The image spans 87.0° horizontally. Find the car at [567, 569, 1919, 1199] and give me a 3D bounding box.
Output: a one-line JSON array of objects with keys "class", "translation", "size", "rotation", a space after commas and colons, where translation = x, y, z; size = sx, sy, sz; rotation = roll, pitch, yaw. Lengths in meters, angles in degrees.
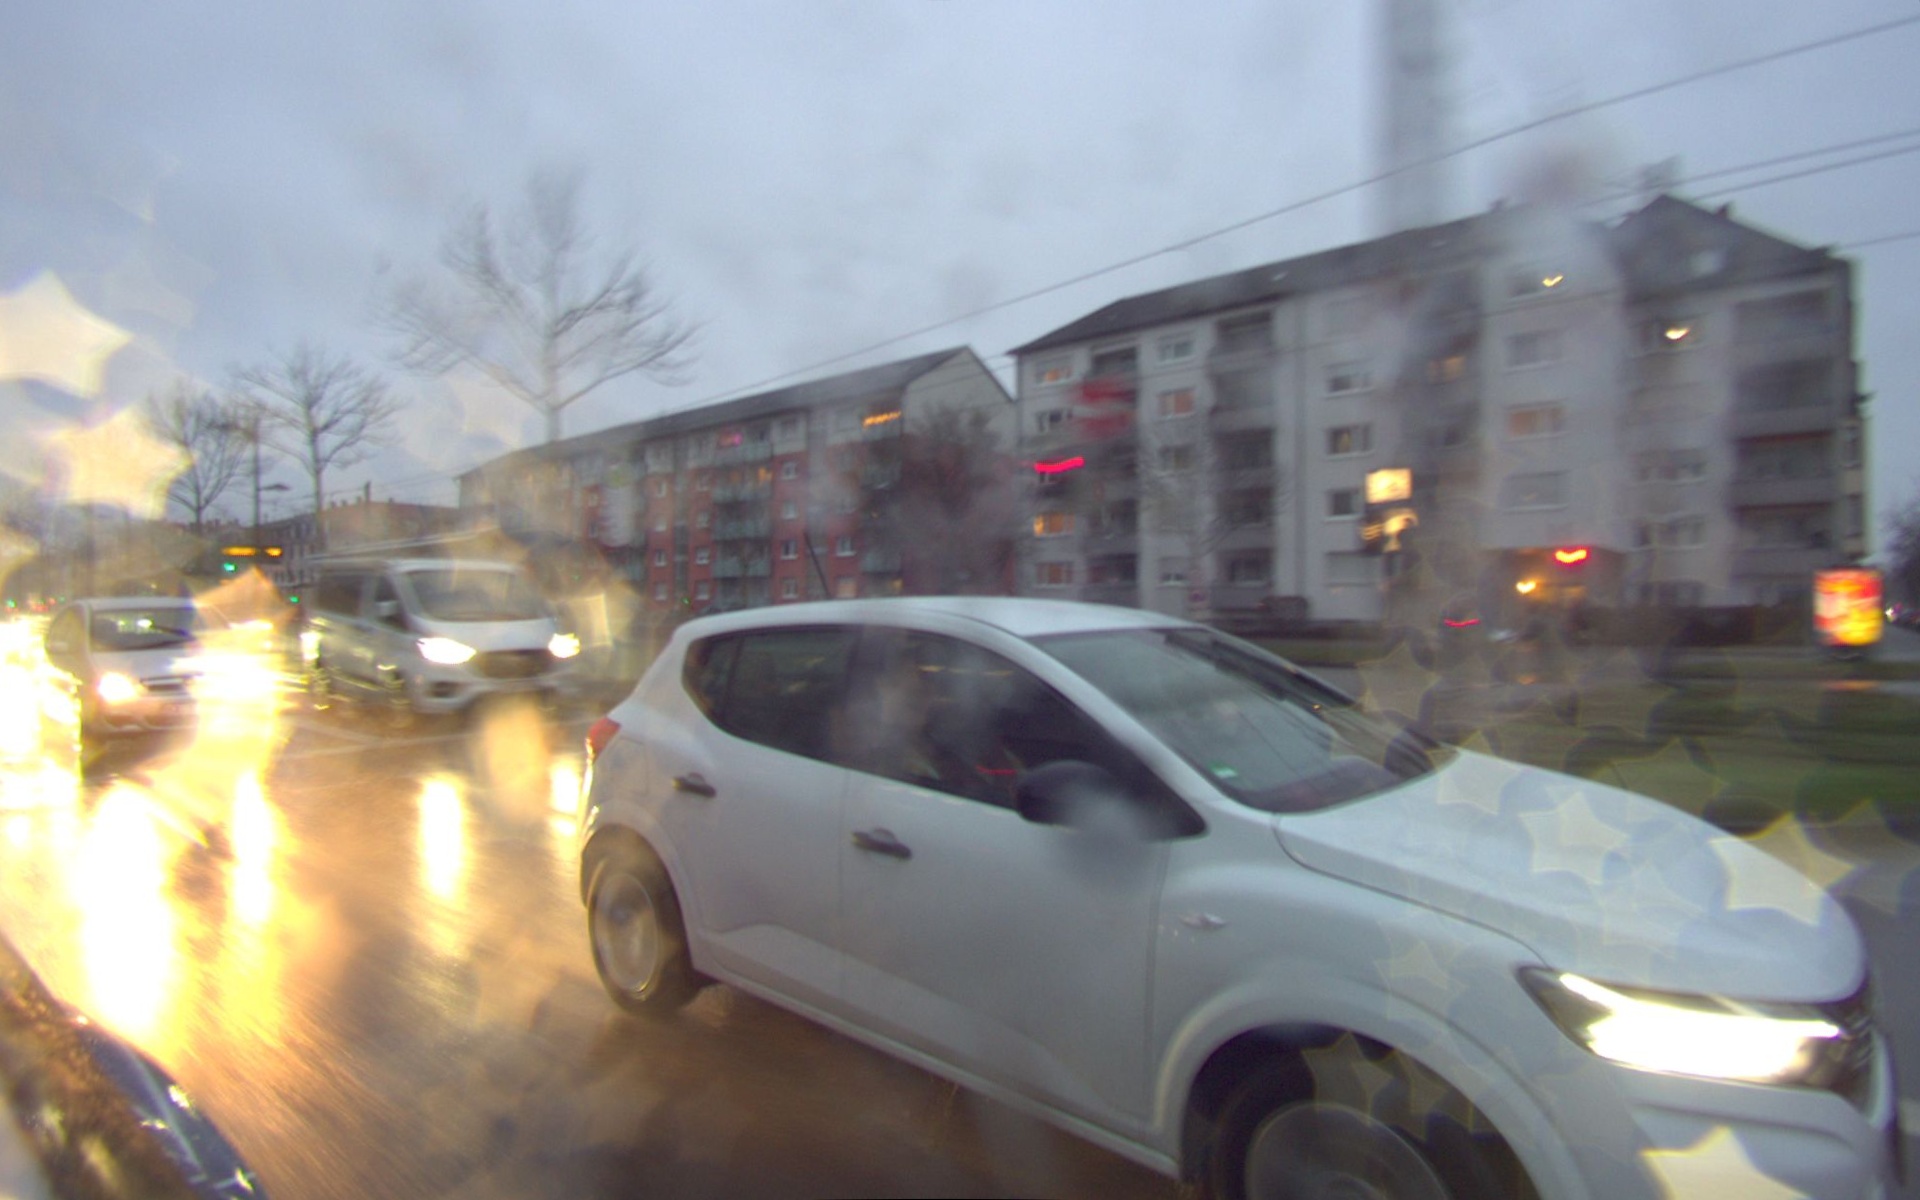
[{"class": "car", "translation": [0.564, 0.666, 3.127], "size": [3.999, 1.477, 1.690], "rotation": [1, 2, 42]}]

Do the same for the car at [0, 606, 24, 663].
[{"class": "car", "translation": [-27.654, 0.964, 28.117], "size": [4.088, 1.512, 1.950], "rotation": [-1, 1, 40]}]

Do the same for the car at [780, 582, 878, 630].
[{"class": "car", "translation": [-4.990, 0.203, 38.297], "size": [3.731, 1.701, 1.692], "rotation": [1, 2, 42]}]

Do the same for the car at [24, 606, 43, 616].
[{"class": "car", "translation": [-152.547, 1.806, 166.639], "size": [3.741, 1.651, 1.509], "rotation": [0, 0, 36]}]

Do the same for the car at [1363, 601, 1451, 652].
[{"class": "car", "translation": [13.805, 0.759, 31.162], "size": [1.695, 1.376, 3.763], "rotation": [0, 2, 37]}]

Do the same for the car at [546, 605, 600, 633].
[{"class": "car", "translation": [-25.207, 1.216, 65.840], "size": [4.152, 1.658, 1.705], "rotation": [1, 2, 44]}]

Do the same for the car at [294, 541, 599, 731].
[{"class": "car", "translation": [-6.850, 0.393, 13.229], "size": [4.882, 2.049, 1.931], "rotation": [-1, 0, 42]}]

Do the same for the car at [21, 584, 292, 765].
[{"class": "car", "translation": [-9.403, 0.677, 11.724], "size": [4.002, 1.689, 1.993], "rotation": [1, 2, 45]}]
